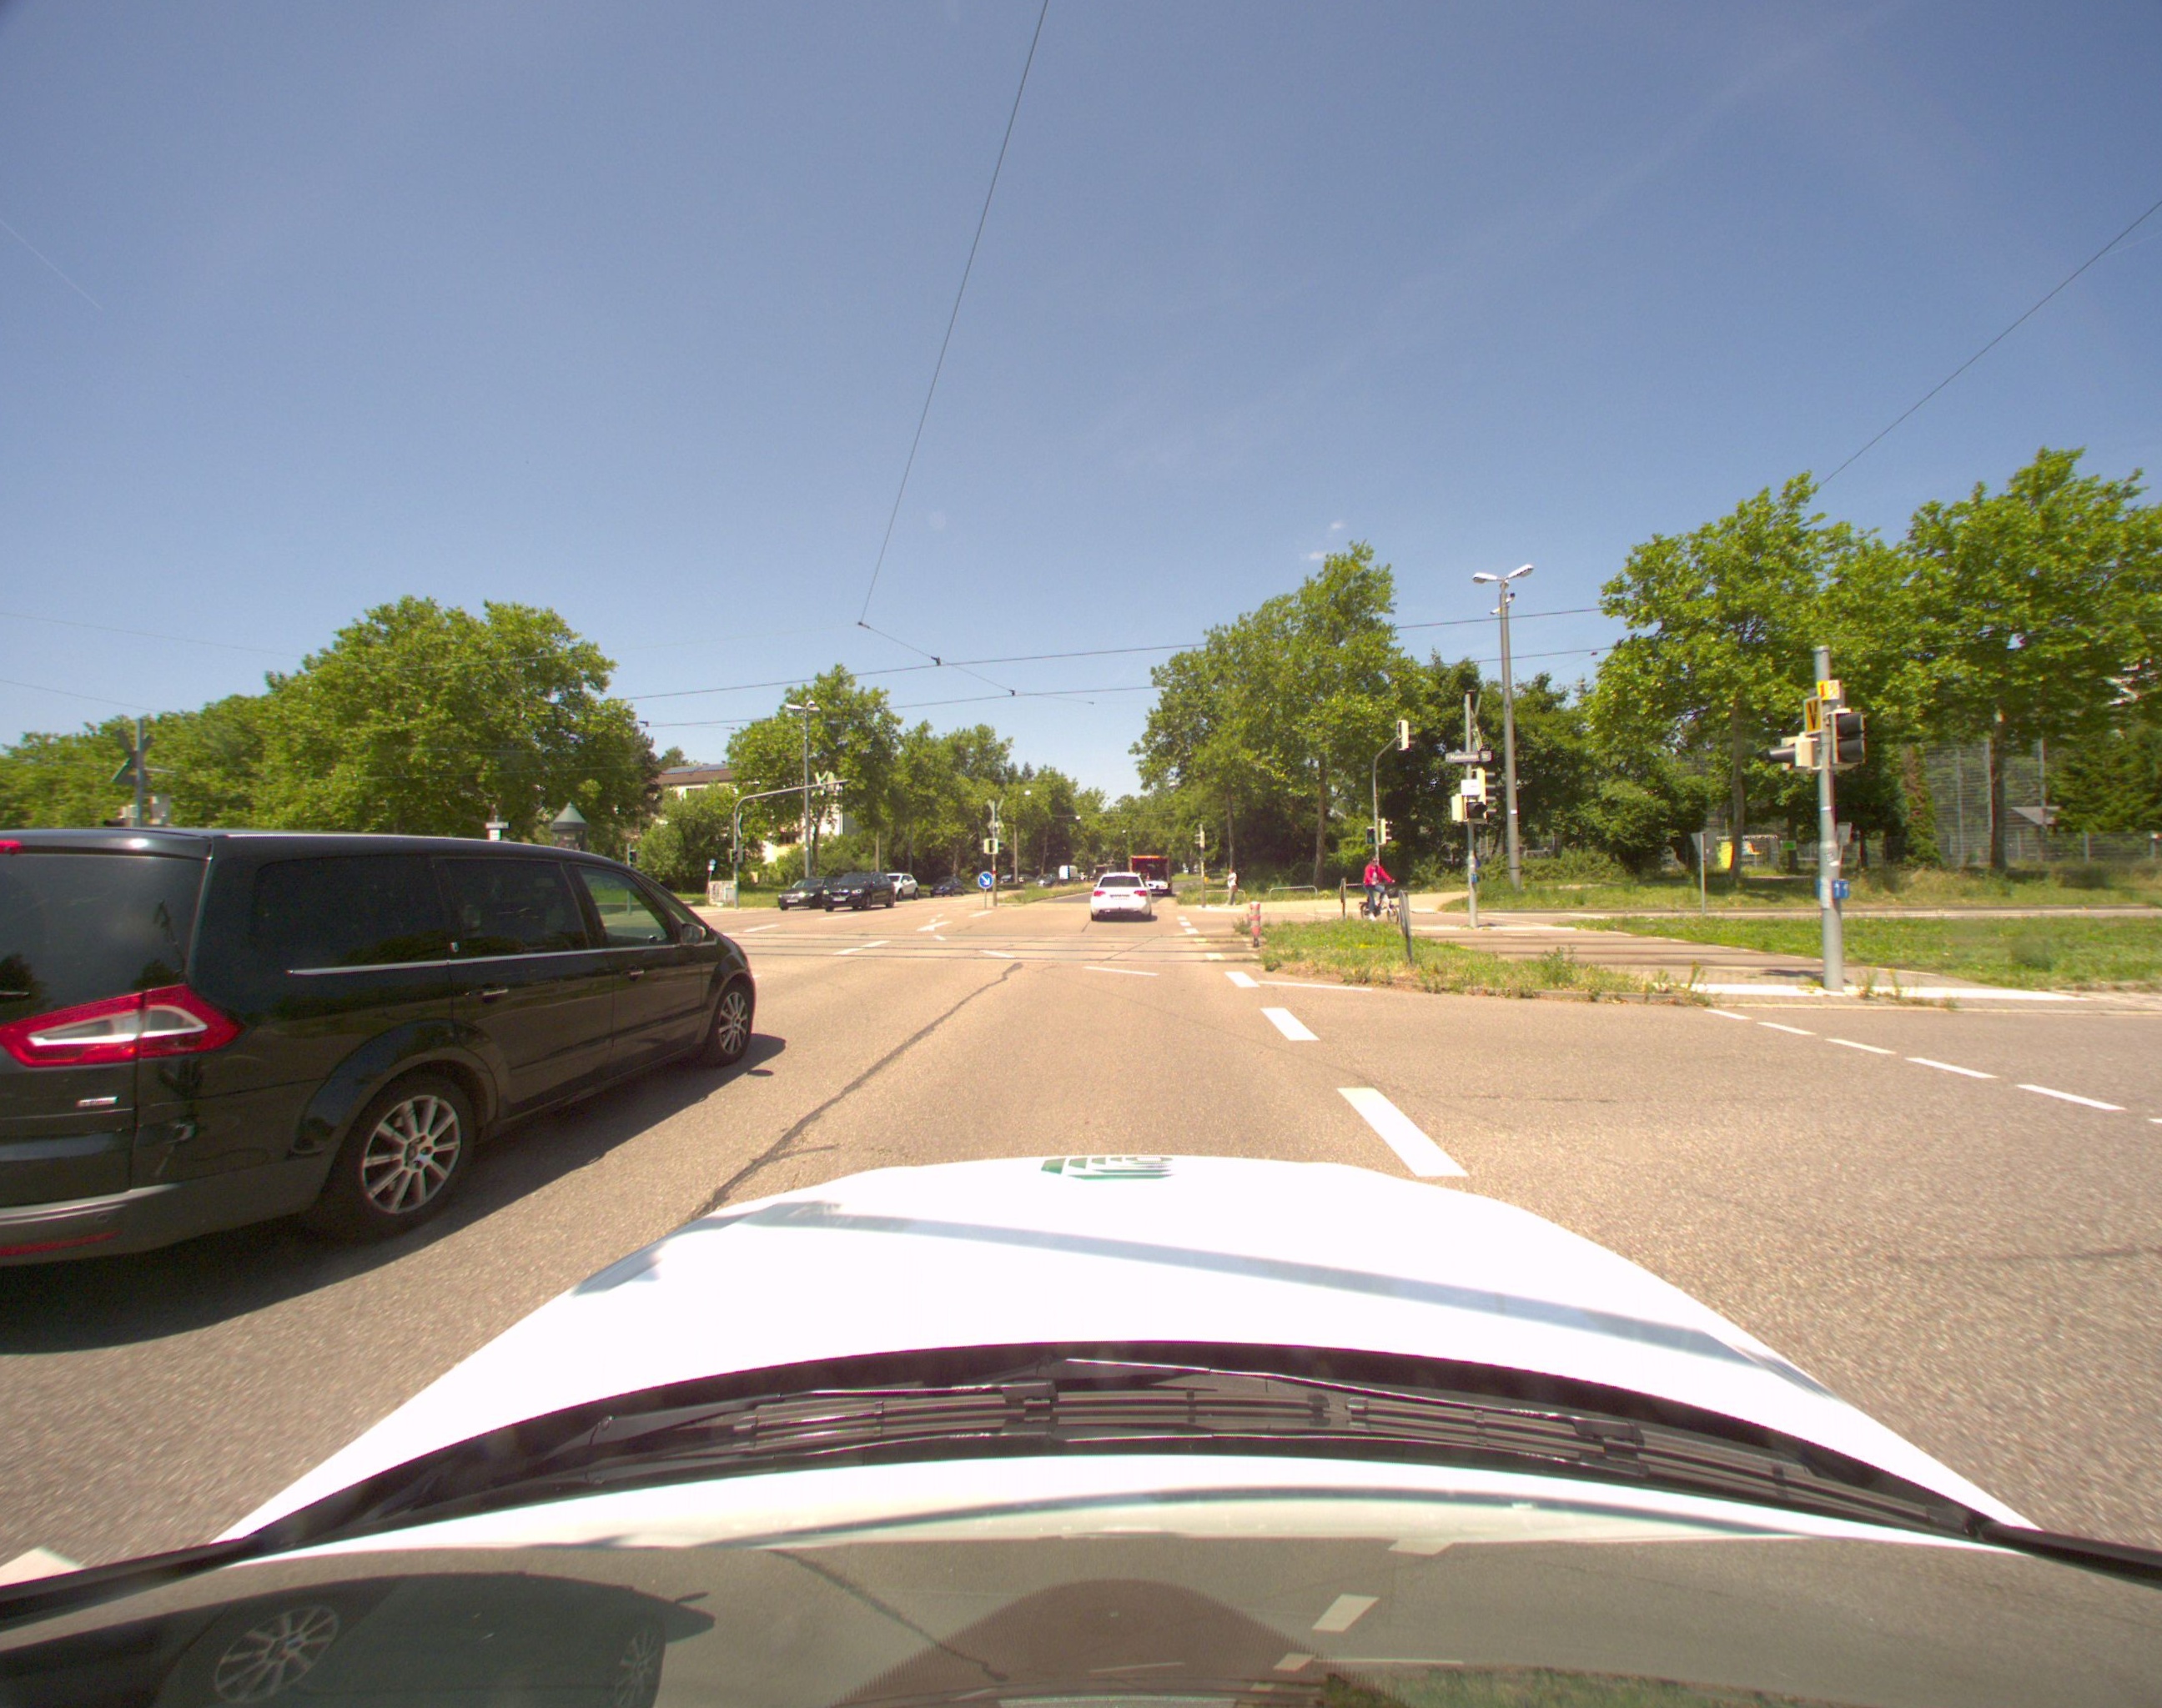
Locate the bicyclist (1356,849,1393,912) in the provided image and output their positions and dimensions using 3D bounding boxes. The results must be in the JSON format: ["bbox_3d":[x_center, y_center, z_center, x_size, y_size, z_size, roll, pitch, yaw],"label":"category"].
[{"bbox_3d":[7.528,0.673,20.892,0.579,1.556,0.669,-1,-1,-18],"label":"bicyclist"}]

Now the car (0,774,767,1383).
[{"bbox_3d":[-3.720,0.695,4.705,1.847,1.756,4.650,-1,-1,2],"label":"car"}]

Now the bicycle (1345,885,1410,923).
[{"bbox_3d":[7.553,1.256,20.815,0.588,0.896,1.800,-1,-1,-17],"label":"bicycle"}]

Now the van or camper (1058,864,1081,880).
[{"bbox_3d":[-1.905,2.920,136.480,2.165,2.588,5.333,-2,-1,18],"label":"van or camper"}]

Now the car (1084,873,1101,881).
[{"bbox_3d":[2.113,4.237,148.330,1.813,1.391,3.967,-1,-1,20],"label":"car"}]

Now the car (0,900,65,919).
[{"bbox_3d":[-87.960,4.604,68.072,1.481,1.397,3.570,-2,-1,24],"label":"car"}]

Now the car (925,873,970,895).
[{"bbox_3d":[-9.272,2.068,56.843,1.708,1.455,3.882,-1,-1,12],"label":"car"}]

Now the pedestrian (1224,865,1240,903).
[{"bbox_3d":[6.093,1.203,32.805,0.549,1.484,0.632,-1,-1,13],"label":"pedestrian"}]

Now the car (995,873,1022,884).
[{"bbox_3d":[-10.004,3.346,112.649,1.865,1.393,4.022,-1,-1,24],"label":"car"}]

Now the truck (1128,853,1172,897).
[{"bbox_3d":[4.384,1.227,50.759,2.498,2.559,7.616,1,0,6],"label":"truck"}]

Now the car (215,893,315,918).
[{"bbox_3d":[-51.538,3.245,51.526,1.441,1.397,4.160,0,-2,25],"label":"car"}]

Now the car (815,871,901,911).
[{"bbox_3d":[-9.286,1.510,34.312,1.898,1.539,4.308,-1,-1,8],"label":"car"}]

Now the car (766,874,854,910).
[{"bbox_3d":[-12.419,1.711,37.707,1.938,1.440,4.757,-1,-1,8],"label":"car"}]

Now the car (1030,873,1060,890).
[{"bbox_3d":[-3.136,2.424,72.034,1.725,1.395,4.190,-3,-2,10],"label":"car"}]

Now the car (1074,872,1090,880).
[{"bbox_3d":[0.178,3.809,142.729,1.680,1.284,3.819,-1,-1,16],"label":"car"}]

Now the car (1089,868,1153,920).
[{"bbox_3d":[1.241,1.154,24.544,1.755,1.445,3.619,-1,-1,4],"label":"car"}]

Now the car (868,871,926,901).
[{"bbox_3d":[-10.737,1.848,47.899,1.777,1.615,4.415,-1,-1,9],"label":"car"}]

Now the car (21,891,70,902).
[{"bbox_3d":[-97.629,3.991,76.812,0.996,0.994,2.736,-2,-1,26],"label":"car"}]

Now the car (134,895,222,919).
[{"bbox_3d":[-59.256,3.462,53.480,1.481,1.397,3.570,-2,-1,24],"label":"car"}]

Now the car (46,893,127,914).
[{"bbox_3d":[-74.160,3.647,60.791,1.481,1.397,3.570,-2,-1,24],"label":"car"}]

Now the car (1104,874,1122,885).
[{"bbox_3d":[4.702,3.643,118.723,1.800,1.507,4.608,-1,-1,12],"label":"car"}]

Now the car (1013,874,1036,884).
[{"bbox_3d":[-8.163,3.589,117.941,1.865,1.376,4.020,-1,-1,21],"label":"car"}]
